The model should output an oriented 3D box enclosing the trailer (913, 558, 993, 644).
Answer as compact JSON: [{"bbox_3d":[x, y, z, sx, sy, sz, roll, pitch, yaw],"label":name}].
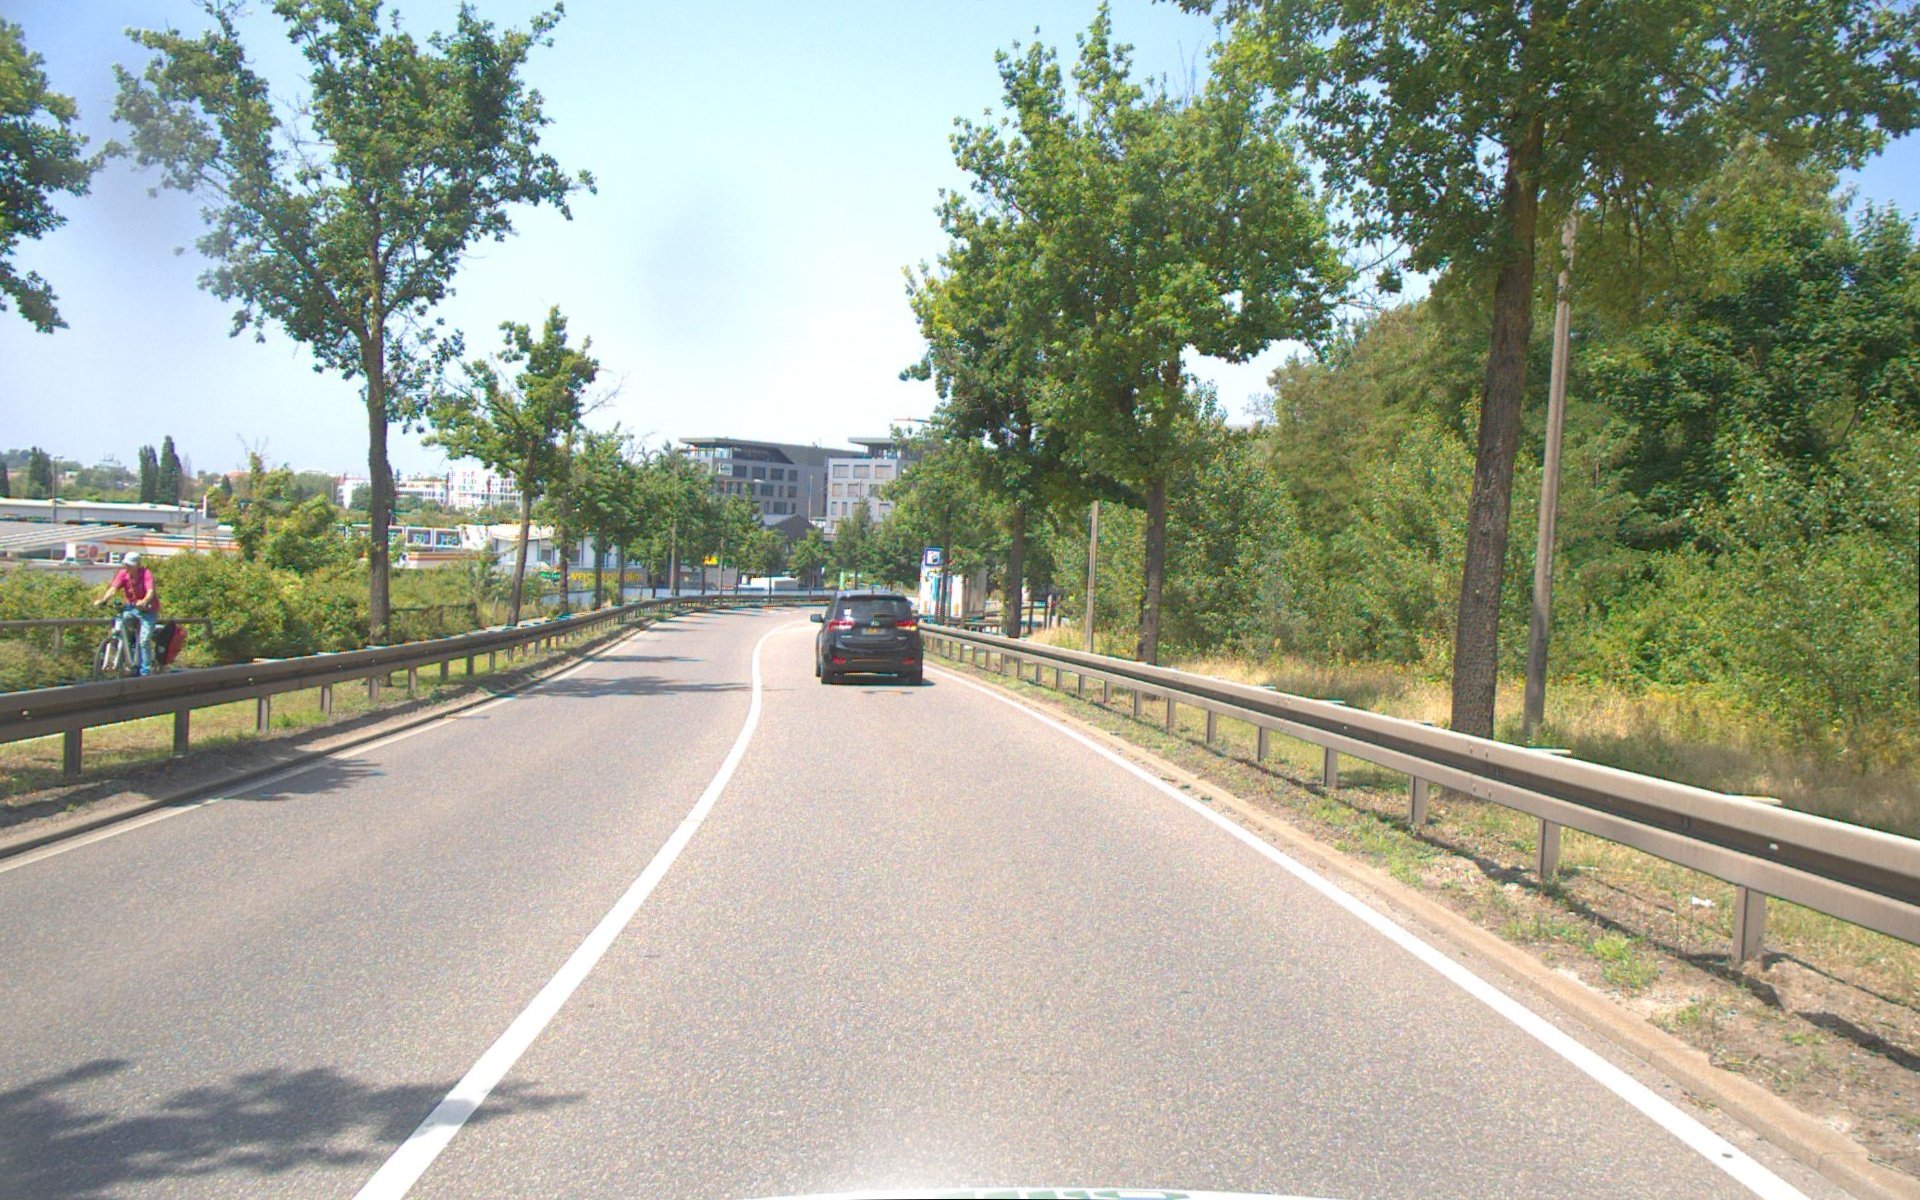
[{"bbox_3d":[-0.231,-0.119,95.781,3.013,4.444,14.785,3,1,6],"label":"trailer"}]

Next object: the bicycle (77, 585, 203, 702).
[{"bbox_3d":[-9.629,0.483,19.509,0.720,1.304,2.042,1,0,-9],"label":"bicycle"}]

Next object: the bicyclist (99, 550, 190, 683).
[{"bbox_3d":[-9.607,0.190,19.506,0.728,1.515,0.755,1,0,-10],"label":"bicyclist"}]

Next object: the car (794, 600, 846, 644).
[{"bbox_3d":[-5.631,0.876,67.025,1.918,1.662,4.277,2,0,-3],"label":"car"}]

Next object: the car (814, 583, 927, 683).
[{"bbox_3d":[-1.654,0.555,29.423,1.733,1.627,4.071,1,0,-7],"label":"car"}]
